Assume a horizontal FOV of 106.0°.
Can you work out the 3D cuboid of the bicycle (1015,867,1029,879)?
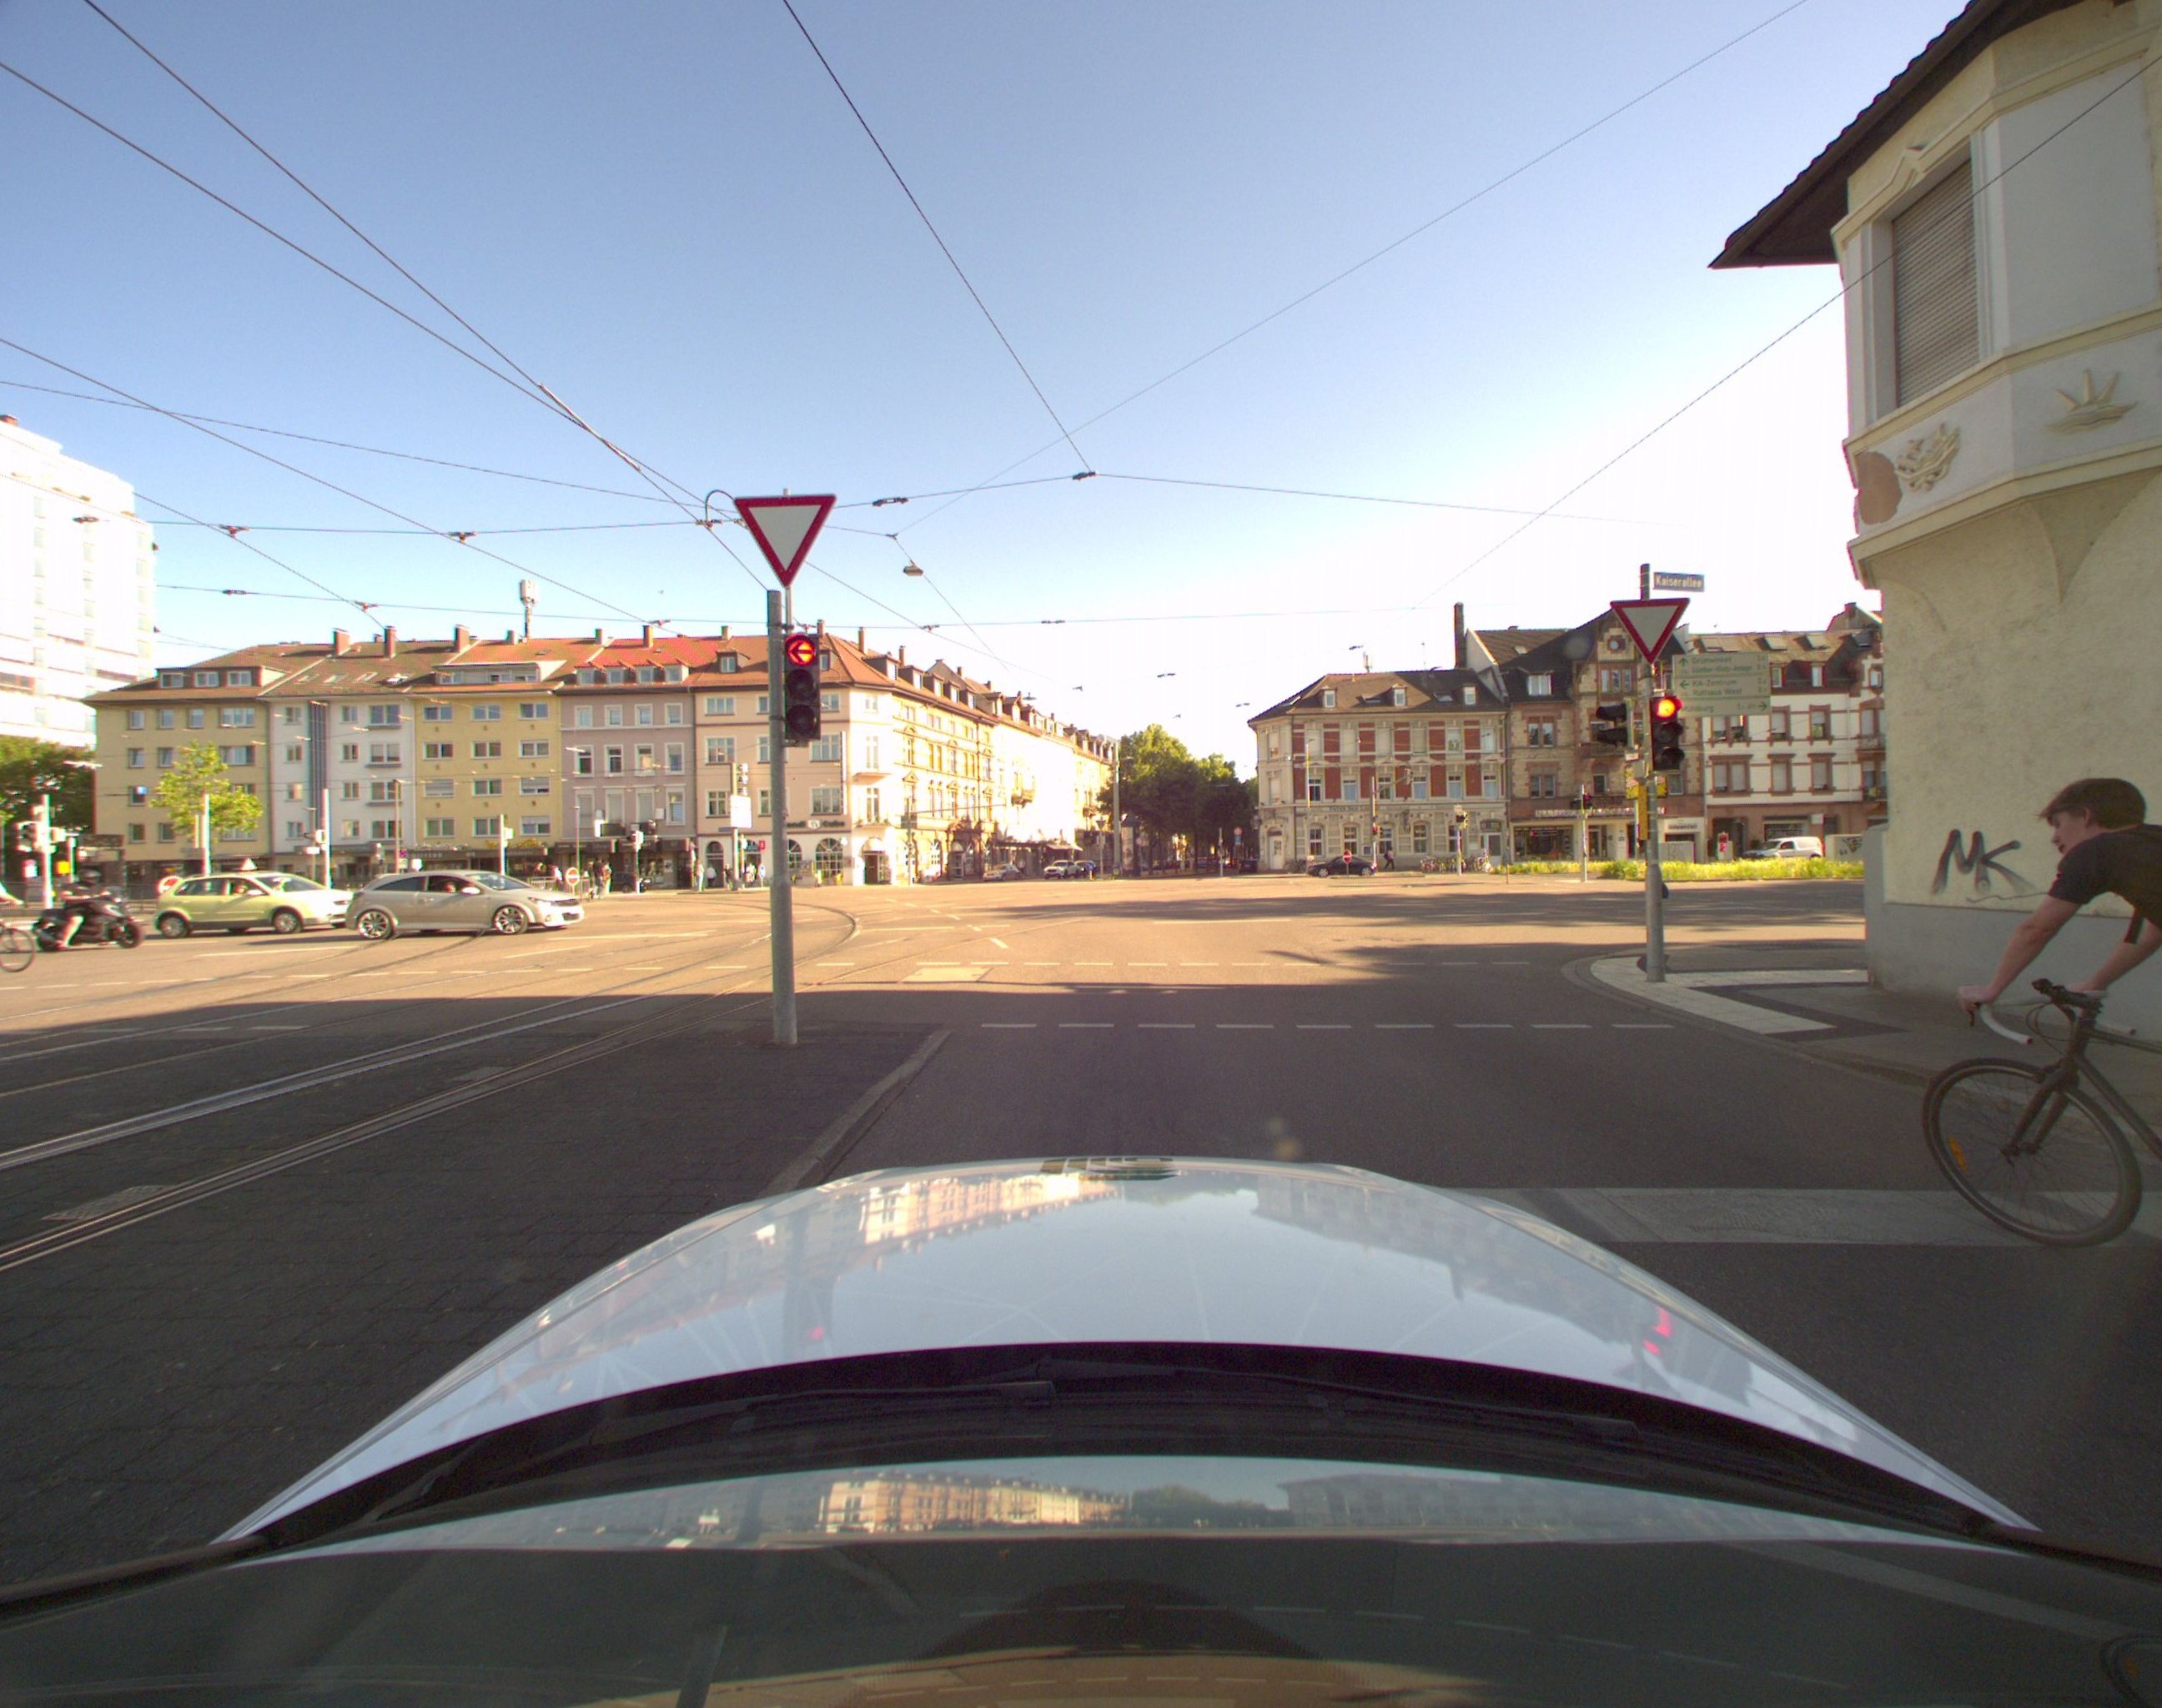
[{"bbox_3d":[-4.756,1.531,65.562,0.650,1.000,1.671,-1,-1,14],"label":"bicycle"}]

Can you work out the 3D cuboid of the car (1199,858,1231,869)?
[{"bbox_3d":[17.341,1.224,105.155,3.959,1.288,1.700,-1,0,13],"label":"car"}]

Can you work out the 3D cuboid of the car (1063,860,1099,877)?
[{"bbox_3d":[0.037,1.310,73.800,1.977,1.404,4.189,-1,0,18],"label":"car"}]

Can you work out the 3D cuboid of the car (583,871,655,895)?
[{"bbox_3d":[-30.340,1.899,53.528,3.711,1.491,1.820,0,-1,4],"label":"car"}]

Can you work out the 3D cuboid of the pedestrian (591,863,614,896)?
[{"bbox_3d":[-24.899,1.306,42.373,0.764,1.682,0.628,-1,0,1],"label":"pedestrian"}]

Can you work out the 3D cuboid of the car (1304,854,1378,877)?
[{"bbox_3d":[15.386,0.680,48.321,4.032,1.300,1.728,-1,0,12],"label":"car"}]

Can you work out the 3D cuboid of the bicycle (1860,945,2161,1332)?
[{"bbox_3d":[3.566,0.922,2.496,0.568,1.058,1.890,-1,0,2],"label":"bicycle"}]

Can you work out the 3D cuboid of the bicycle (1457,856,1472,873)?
[{"bbox_3d":[24.823,0.677,52.709,0.483,1.020,1.789,-1,0,12],"label":"bicycle"}]

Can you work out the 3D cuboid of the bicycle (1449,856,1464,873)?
[{"bbox_3d":[24.320,0.681,52.800,0.483,1.020,1.789,-1,0,12],"label":"bicycle"}]

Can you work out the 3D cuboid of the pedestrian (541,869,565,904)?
[{"bbox_3d":[-24.133,1.478,37.199,0.696,1.581,0.560,-1,0,1],"label":"pedestrian"}]

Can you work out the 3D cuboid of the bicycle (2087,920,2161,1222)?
[{"bbox_3d":[4.510,0.861,2.482,0.568,1.165,1.890,-1,0,2],"label":"bicycle"}]

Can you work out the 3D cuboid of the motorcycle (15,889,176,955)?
[{"bbox_3d":[-20.504,1.395,16.986,2.205,1.228,0.692,-1,0,-10],"label":"motorcycle"}]

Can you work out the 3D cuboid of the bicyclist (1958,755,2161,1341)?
[{"bbox_3d":[3.564,0.579,2.494,0.649,1.767,0.995,-1,0,2],"label":"bicyclist"}]

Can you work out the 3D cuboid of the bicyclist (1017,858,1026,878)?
[{"bbox_3d":[-4.762,1.093,65.464,0.486,1.601,0.668,-1,0,12],"label":"bicyclist"}]

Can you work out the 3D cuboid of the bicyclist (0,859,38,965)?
[{"bbox_3d":[-17.868,0.944,13.190,0.937,1.713,0.732,-1,0,-6],"label":"bicyclist"}]

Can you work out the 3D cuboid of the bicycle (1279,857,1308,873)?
[{"bbox_3d":[14.919,0.750,57.134,1.940,1.054,0.717,-1,0,11],"label":"bicycle"}]

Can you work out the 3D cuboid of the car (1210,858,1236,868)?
[{"bbox_3d":[19.386,1.212,111.184,3.409,1.239,1.582,-1,0,13],"label":"car"}]

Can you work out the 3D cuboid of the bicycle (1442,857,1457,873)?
[{"bbox_3d":[23.860,0.684,52.750,0.483,1.020,1.789,-1,0,12],"label":"bicycle"}]

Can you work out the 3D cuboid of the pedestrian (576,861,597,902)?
[{"bbox_3d":[-22.385,1.237,36.897,0.558,1.786,0.560,-1,0,1],"label":"pedestrian"}]

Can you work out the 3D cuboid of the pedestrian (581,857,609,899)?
[{"bbox_3d":[-21.351,1.050,35.782,0.764,1.829,0.723,-1,0,1],"label":"pedestrian"}]

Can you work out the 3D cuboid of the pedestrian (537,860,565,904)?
[{"bbox_3d":[-22.835,1.213,35.100,0.625,1.850,0.778,-1,0,1],"label":"pedestrian"}]

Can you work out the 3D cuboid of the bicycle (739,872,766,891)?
[{"bbox_3d":[-23.230,1.951,57.655,1.714,1.276,0.385,-1,0,-16],"label":"bicycle"}]

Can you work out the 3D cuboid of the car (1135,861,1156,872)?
[{"bbox_3d":[9.251,1.811,116.817,1.977,1.404,4.189,-1,0,18],"label":"car"}]

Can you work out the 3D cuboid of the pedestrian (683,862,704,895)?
[{"bbox_3d":[-20.026,1.272,42.068,0.738,1.682,0.628,-1,0,1],"label":"pedestrian"}]

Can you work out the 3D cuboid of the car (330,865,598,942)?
[{"bbox_3d":[-13.079,1.005,17.493,4.262,1.441,1.738,-1,-1,-6],"label":"car"}]

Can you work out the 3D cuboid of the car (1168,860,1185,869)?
[{"bbox_3d":[16.035,1.735,136.413,1.977,1.404,4.189,-1,0,18],"label":"car"}]

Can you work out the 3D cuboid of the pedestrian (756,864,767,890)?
[{"bbox_3d":[-15.787,1.134,40.221,0.364,1.253,0.449,-1,0,-10],"label":"pedestrian"}]

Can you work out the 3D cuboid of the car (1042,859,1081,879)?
[{"bbox_3d":[-1.584,1.217,67.663,1.977,1.516,4.189,-1,0,18],"label":"car"}]

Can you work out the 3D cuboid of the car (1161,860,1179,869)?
[{"bbox_3d":[14.335,1.706,131.254,1.977,1.404,4.189,-1,0,18],"label":"car"}]

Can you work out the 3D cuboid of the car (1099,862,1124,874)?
[{"bbox_3d":[3.837,1.710,102.169,1.977,1.404,4.189,-1,0,18],"label":"car"}]

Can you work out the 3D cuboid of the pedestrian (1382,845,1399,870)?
[{"bbox_3d":[21.464,0.233,56.479,1.029,1.712,0.631,-1,-1,10],"label":"pedestrian"}]

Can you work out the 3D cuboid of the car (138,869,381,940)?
[{"bbox_3d":[-19.917,1.193,19.900,3.948,1.498,1.739,-1,0,-5],"label":"car"}]

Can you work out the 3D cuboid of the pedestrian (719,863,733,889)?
[{"bbox_3d":[-23.069,1.408,52.925,0.744,1.682,0.623,-1,0,-23],"label":"pedestrian"}]

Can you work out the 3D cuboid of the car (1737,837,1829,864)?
[{"bbox_3d":[45.297,-0.243,52.595,4.239,1.622,1.999,-1,0,-1],"label":"car"}]

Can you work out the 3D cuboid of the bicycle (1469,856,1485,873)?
[{"bbox_3d":[25.634,0.672,52.757,0.483,1.020,1.789,-1,0,12],"label":"bicycle"}]

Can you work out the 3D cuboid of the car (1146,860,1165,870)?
[{"bbox_3d":[11.205,1.686,122.495,1.977,1.404,4.189,-1,0,18],"label":"car"}]

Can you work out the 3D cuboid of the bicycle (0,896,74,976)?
[{"bbox_3d":[-17.831,1.341,13.189,1.920,1.223,0.741,-1,0,-6],"label":"bicycle"}]

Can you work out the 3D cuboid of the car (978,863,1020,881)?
[{"bbox_3d":[-6.753,1.476,67.357,1.977,1.361,3.836,-1,0,18],"label":"car"}]

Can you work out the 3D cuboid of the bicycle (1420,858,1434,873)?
[{"bbox_3d":[22.488,0.732,52.972,0.483,0.914,1.789,-1,0,12],"label":"bicycle"}]

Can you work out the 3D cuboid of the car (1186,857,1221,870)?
[{"bbox_3d":[14.968,1.154,99.501,3.959,1.454,1.687,-1,0,13],"label":"car"}]

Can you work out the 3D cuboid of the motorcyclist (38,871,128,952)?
[{"bbox_3d":[-20.759,1.169,16.966,0.832,1.620,0.814,0,-1,-10],"label":"motorcyclist"}]

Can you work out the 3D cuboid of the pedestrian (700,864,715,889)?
[{"bbox_3d":[-26.530,1.593,57.848,0.740,1.682,0.626,-1,0,-10],"label":"pedestrian"}]

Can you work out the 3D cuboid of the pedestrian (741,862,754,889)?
[{"bbox_3d":[-21.653,1.395,52.824,0.744,1.682,0.623,-1,0,-23],"label":"pedestrian"}]

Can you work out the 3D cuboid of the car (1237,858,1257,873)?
[{"bbox_3d":[16.805,1.131,82.287,1.742,1.420,4.016,-1,0,14],"label":"car"}]

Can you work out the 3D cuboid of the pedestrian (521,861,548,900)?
[{"bbox_3d":[-23.740,1.142,35.377,0.738,1.635,0.572,-1,0,1],"label":"pedestrian"}]

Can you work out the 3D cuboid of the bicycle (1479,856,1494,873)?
[{"bbox_3d":[26.339,0.668,52.912,0.483,1.020,1.789,-1,0,12],"label":"bicycle"}]

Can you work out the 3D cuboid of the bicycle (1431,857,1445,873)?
[{"bbox_3d":[23.165,0.722,52.868,0.483,1.020,1.789,-1,0,12],"label":"bicycle"}]
